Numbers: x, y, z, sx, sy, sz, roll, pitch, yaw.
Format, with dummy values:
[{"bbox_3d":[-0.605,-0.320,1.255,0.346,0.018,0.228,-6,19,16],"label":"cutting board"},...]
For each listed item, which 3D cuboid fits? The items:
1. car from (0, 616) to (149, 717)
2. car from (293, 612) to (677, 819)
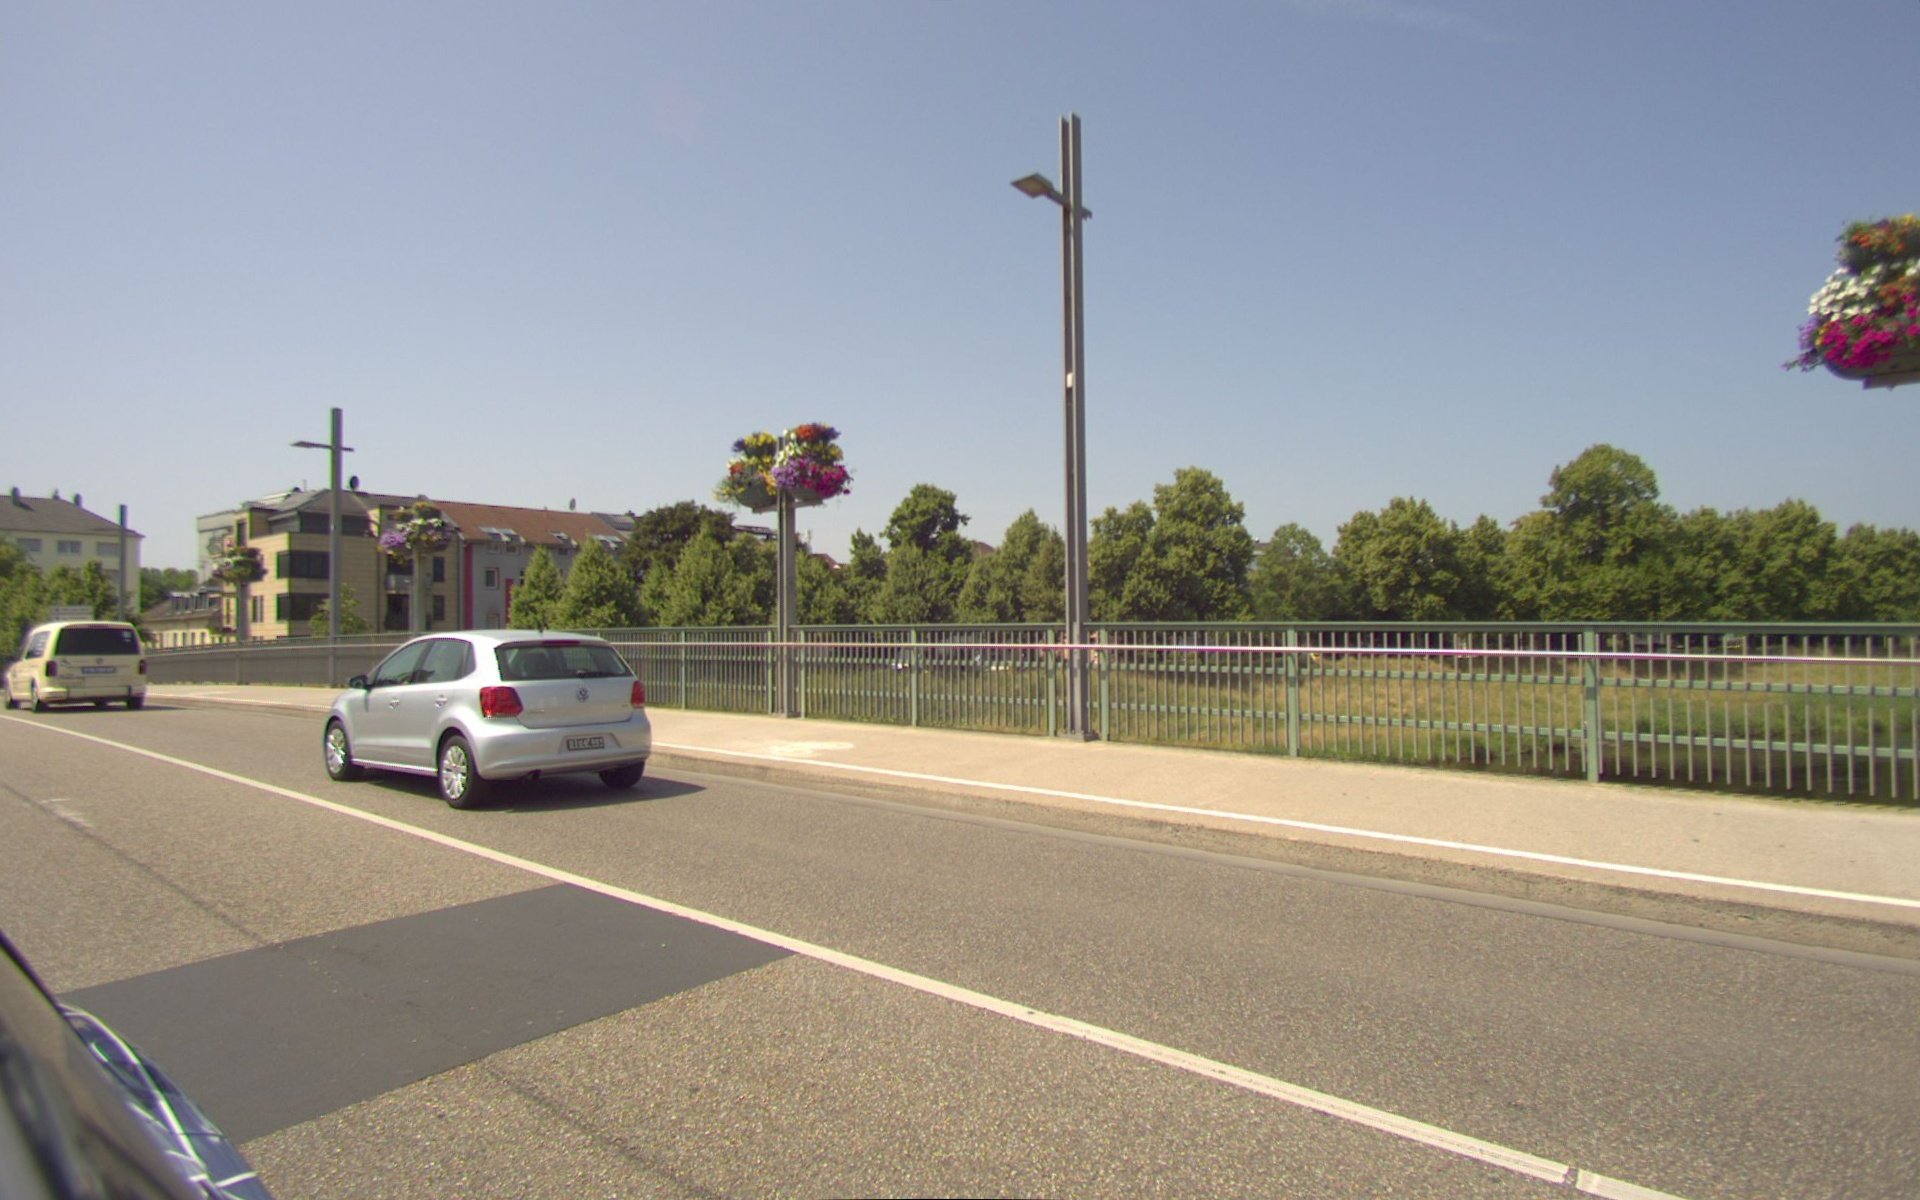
[{"bbox_3d":[-18.764,1.344,21.341,4.643,1.871,1.741,-2,-1,40],"label":"car"},{"bbox_3d":[-4.569,0.953,9.489,3.997,1.531,1.742,-2,-4,40],"label":"car"}]
